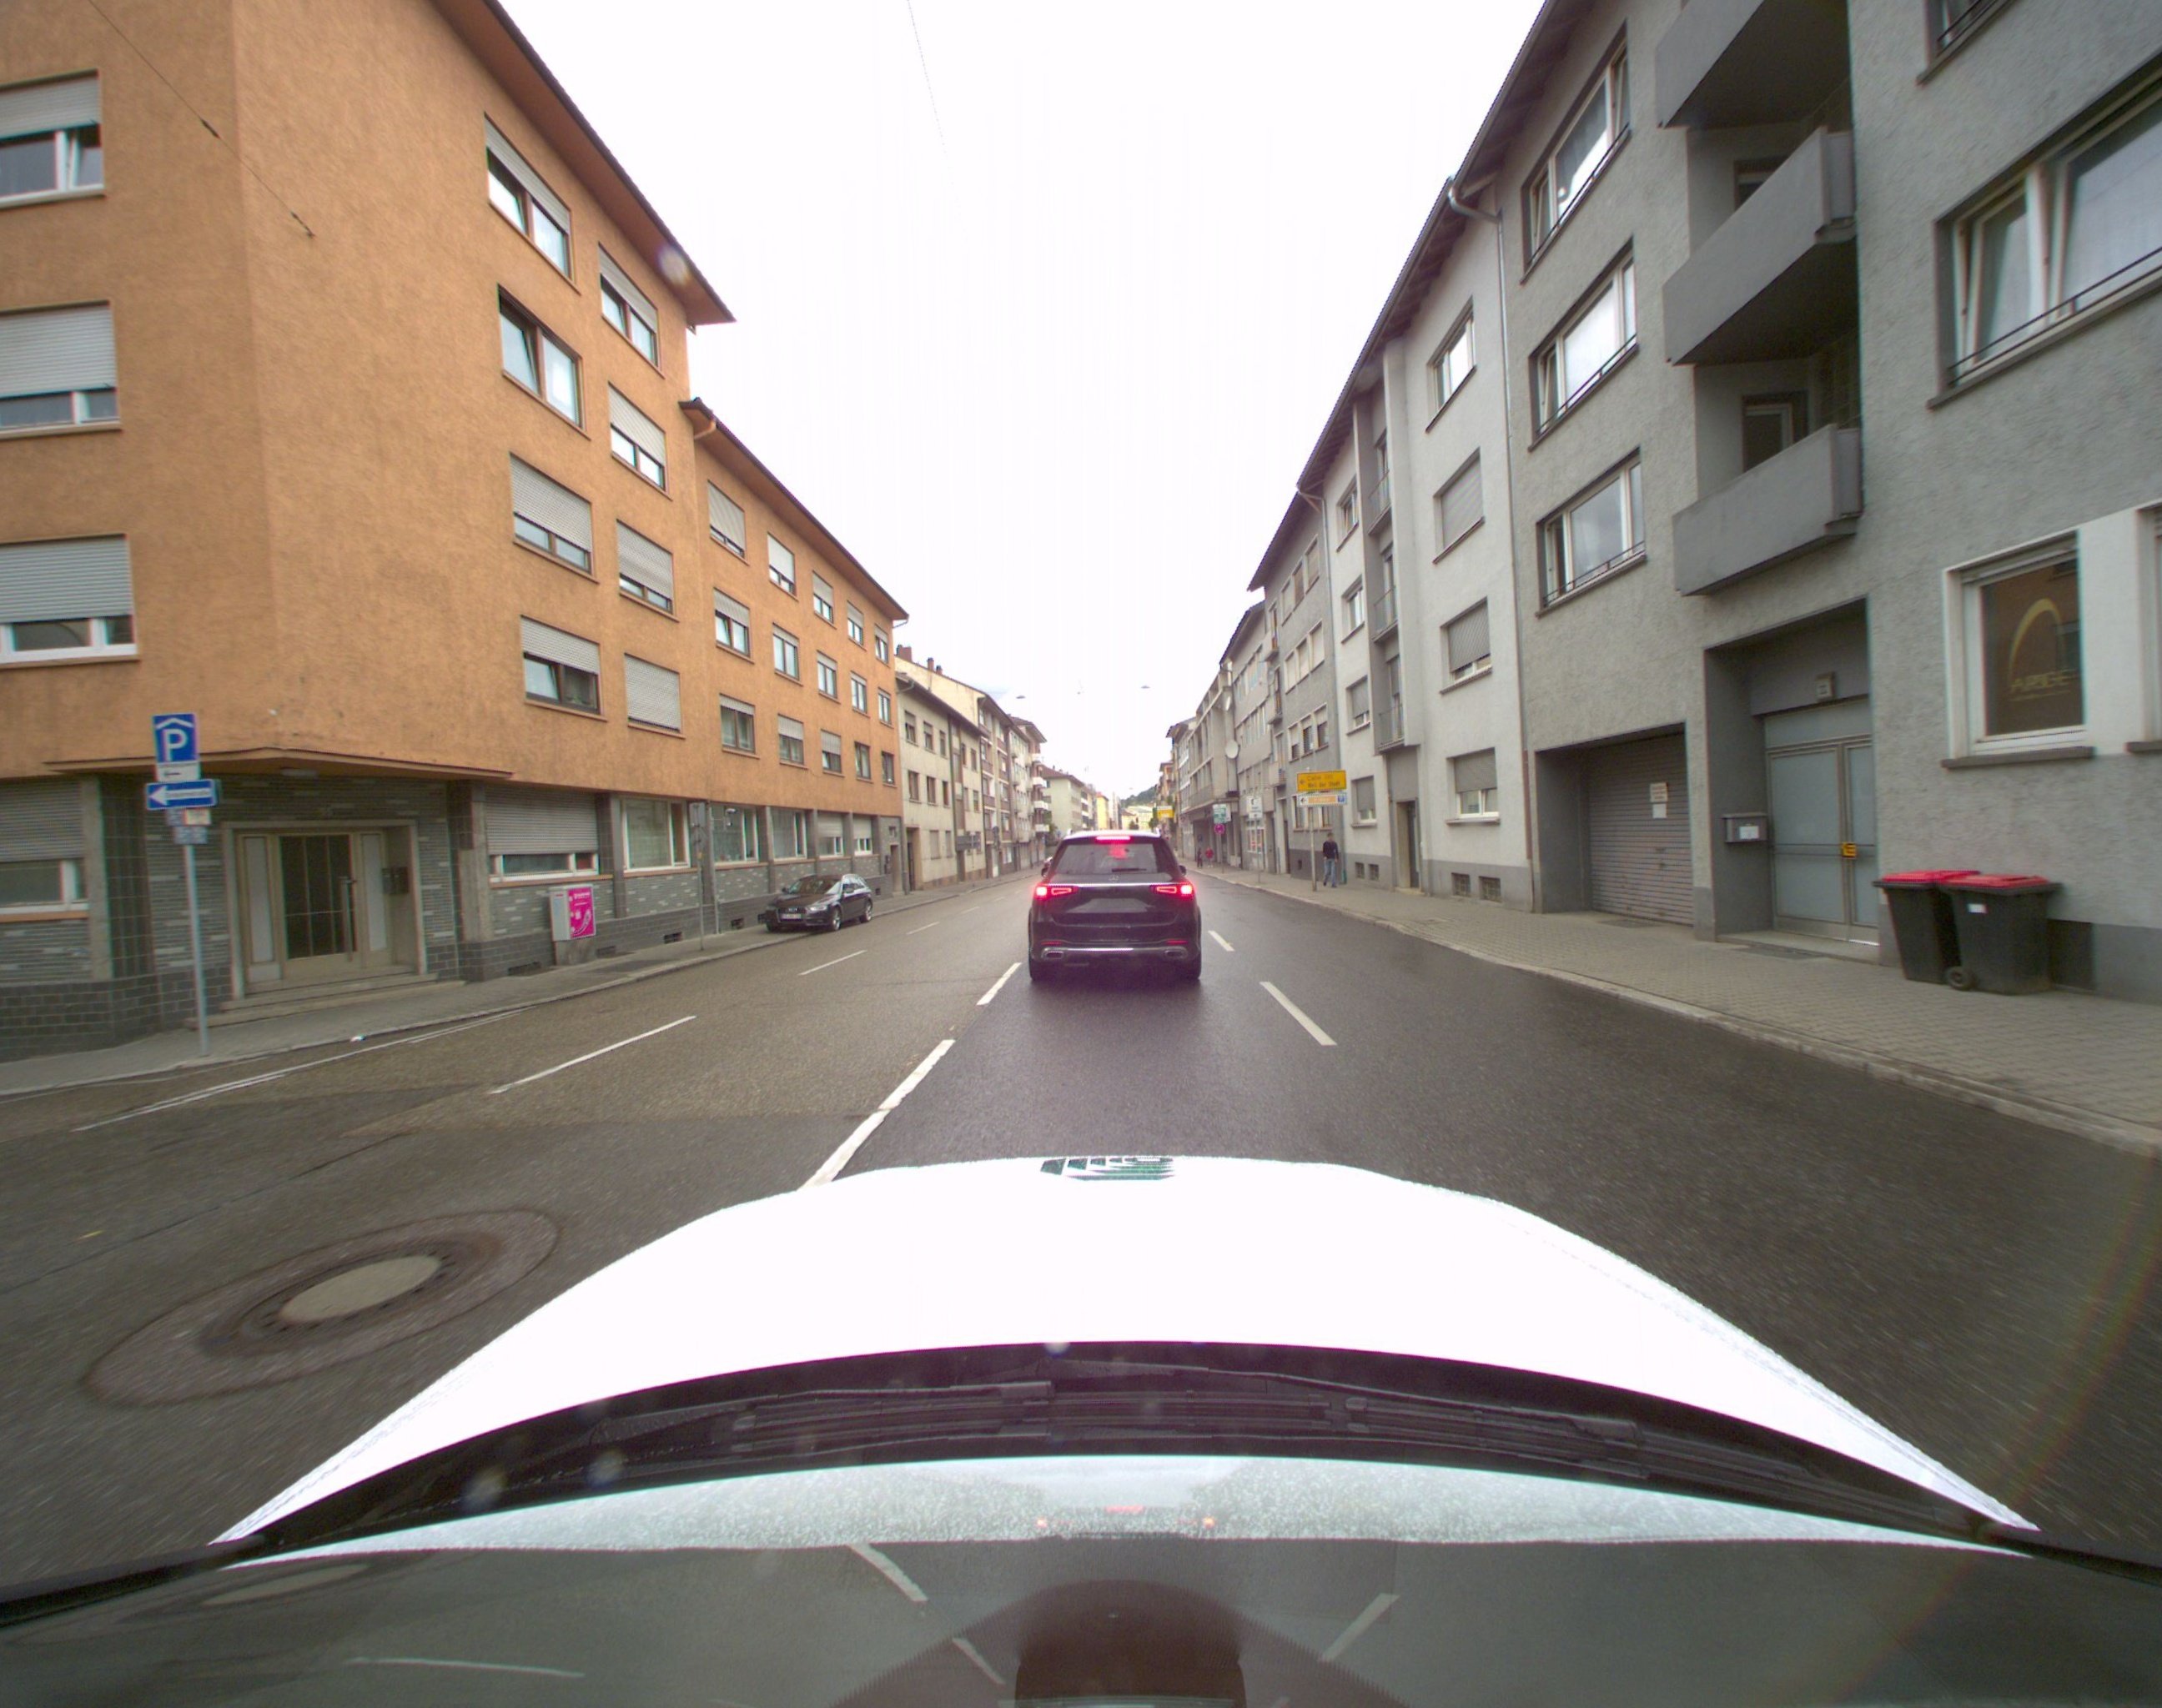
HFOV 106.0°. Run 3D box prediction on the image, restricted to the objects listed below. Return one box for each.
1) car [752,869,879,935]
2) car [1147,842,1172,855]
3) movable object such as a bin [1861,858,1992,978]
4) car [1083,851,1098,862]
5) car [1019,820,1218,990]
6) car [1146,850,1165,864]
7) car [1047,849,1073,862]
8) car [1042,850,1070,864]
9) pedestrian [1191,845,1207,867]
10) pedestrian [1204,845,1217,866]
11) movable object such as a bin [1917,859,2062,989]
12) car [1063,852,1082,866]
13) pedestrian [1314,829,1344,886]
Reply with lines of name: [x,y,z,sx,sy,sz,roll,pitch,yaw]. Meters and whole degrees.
car: [-7.179,1.228,22.550,1.884,1.458,4.550,-2,1,1]
car: [12.817,-0.868,133.067,3.967,2.013,2.003,-2,0,5]
movable object such as a bin: [7.434,0.544,7.181,0.560,0.962,0.475,-6,0,5]
car: [1.309,0.324,111.645,1.884,1.458,4.551,-2,1,2]
car: [0.470,0.509,10.998,2.068,1.765,4.613,-2,1,2]
car: [7.810,0.321,85.636,1.728,1.388,4.585,-2,1,2]
car: [-3.464,0.263,133.434,3.967,2.013,2.003,-2,0,5]
car: [-3.717,0.401,122.388,3.967,2.013,2.003,-2,0,5]
pedestrian: [8.776,0.139,60.631,0.824,1.565,0.893,-2,0,-20]
pedestrian: [9.609,0.116,60.532,0.817,1.565,0.901,-2,0,5]
movable object such as a bin: [7.388,0.552,6.648,0.471,0.962,0.565,-6,0,4]
car: [-0.922,0.529,91.434,1.884,1.458,4.550,-2,1,1]
pedestrian: [7.937,0.091,26.095,0.652,1.752,0.743,-5,0,7]
